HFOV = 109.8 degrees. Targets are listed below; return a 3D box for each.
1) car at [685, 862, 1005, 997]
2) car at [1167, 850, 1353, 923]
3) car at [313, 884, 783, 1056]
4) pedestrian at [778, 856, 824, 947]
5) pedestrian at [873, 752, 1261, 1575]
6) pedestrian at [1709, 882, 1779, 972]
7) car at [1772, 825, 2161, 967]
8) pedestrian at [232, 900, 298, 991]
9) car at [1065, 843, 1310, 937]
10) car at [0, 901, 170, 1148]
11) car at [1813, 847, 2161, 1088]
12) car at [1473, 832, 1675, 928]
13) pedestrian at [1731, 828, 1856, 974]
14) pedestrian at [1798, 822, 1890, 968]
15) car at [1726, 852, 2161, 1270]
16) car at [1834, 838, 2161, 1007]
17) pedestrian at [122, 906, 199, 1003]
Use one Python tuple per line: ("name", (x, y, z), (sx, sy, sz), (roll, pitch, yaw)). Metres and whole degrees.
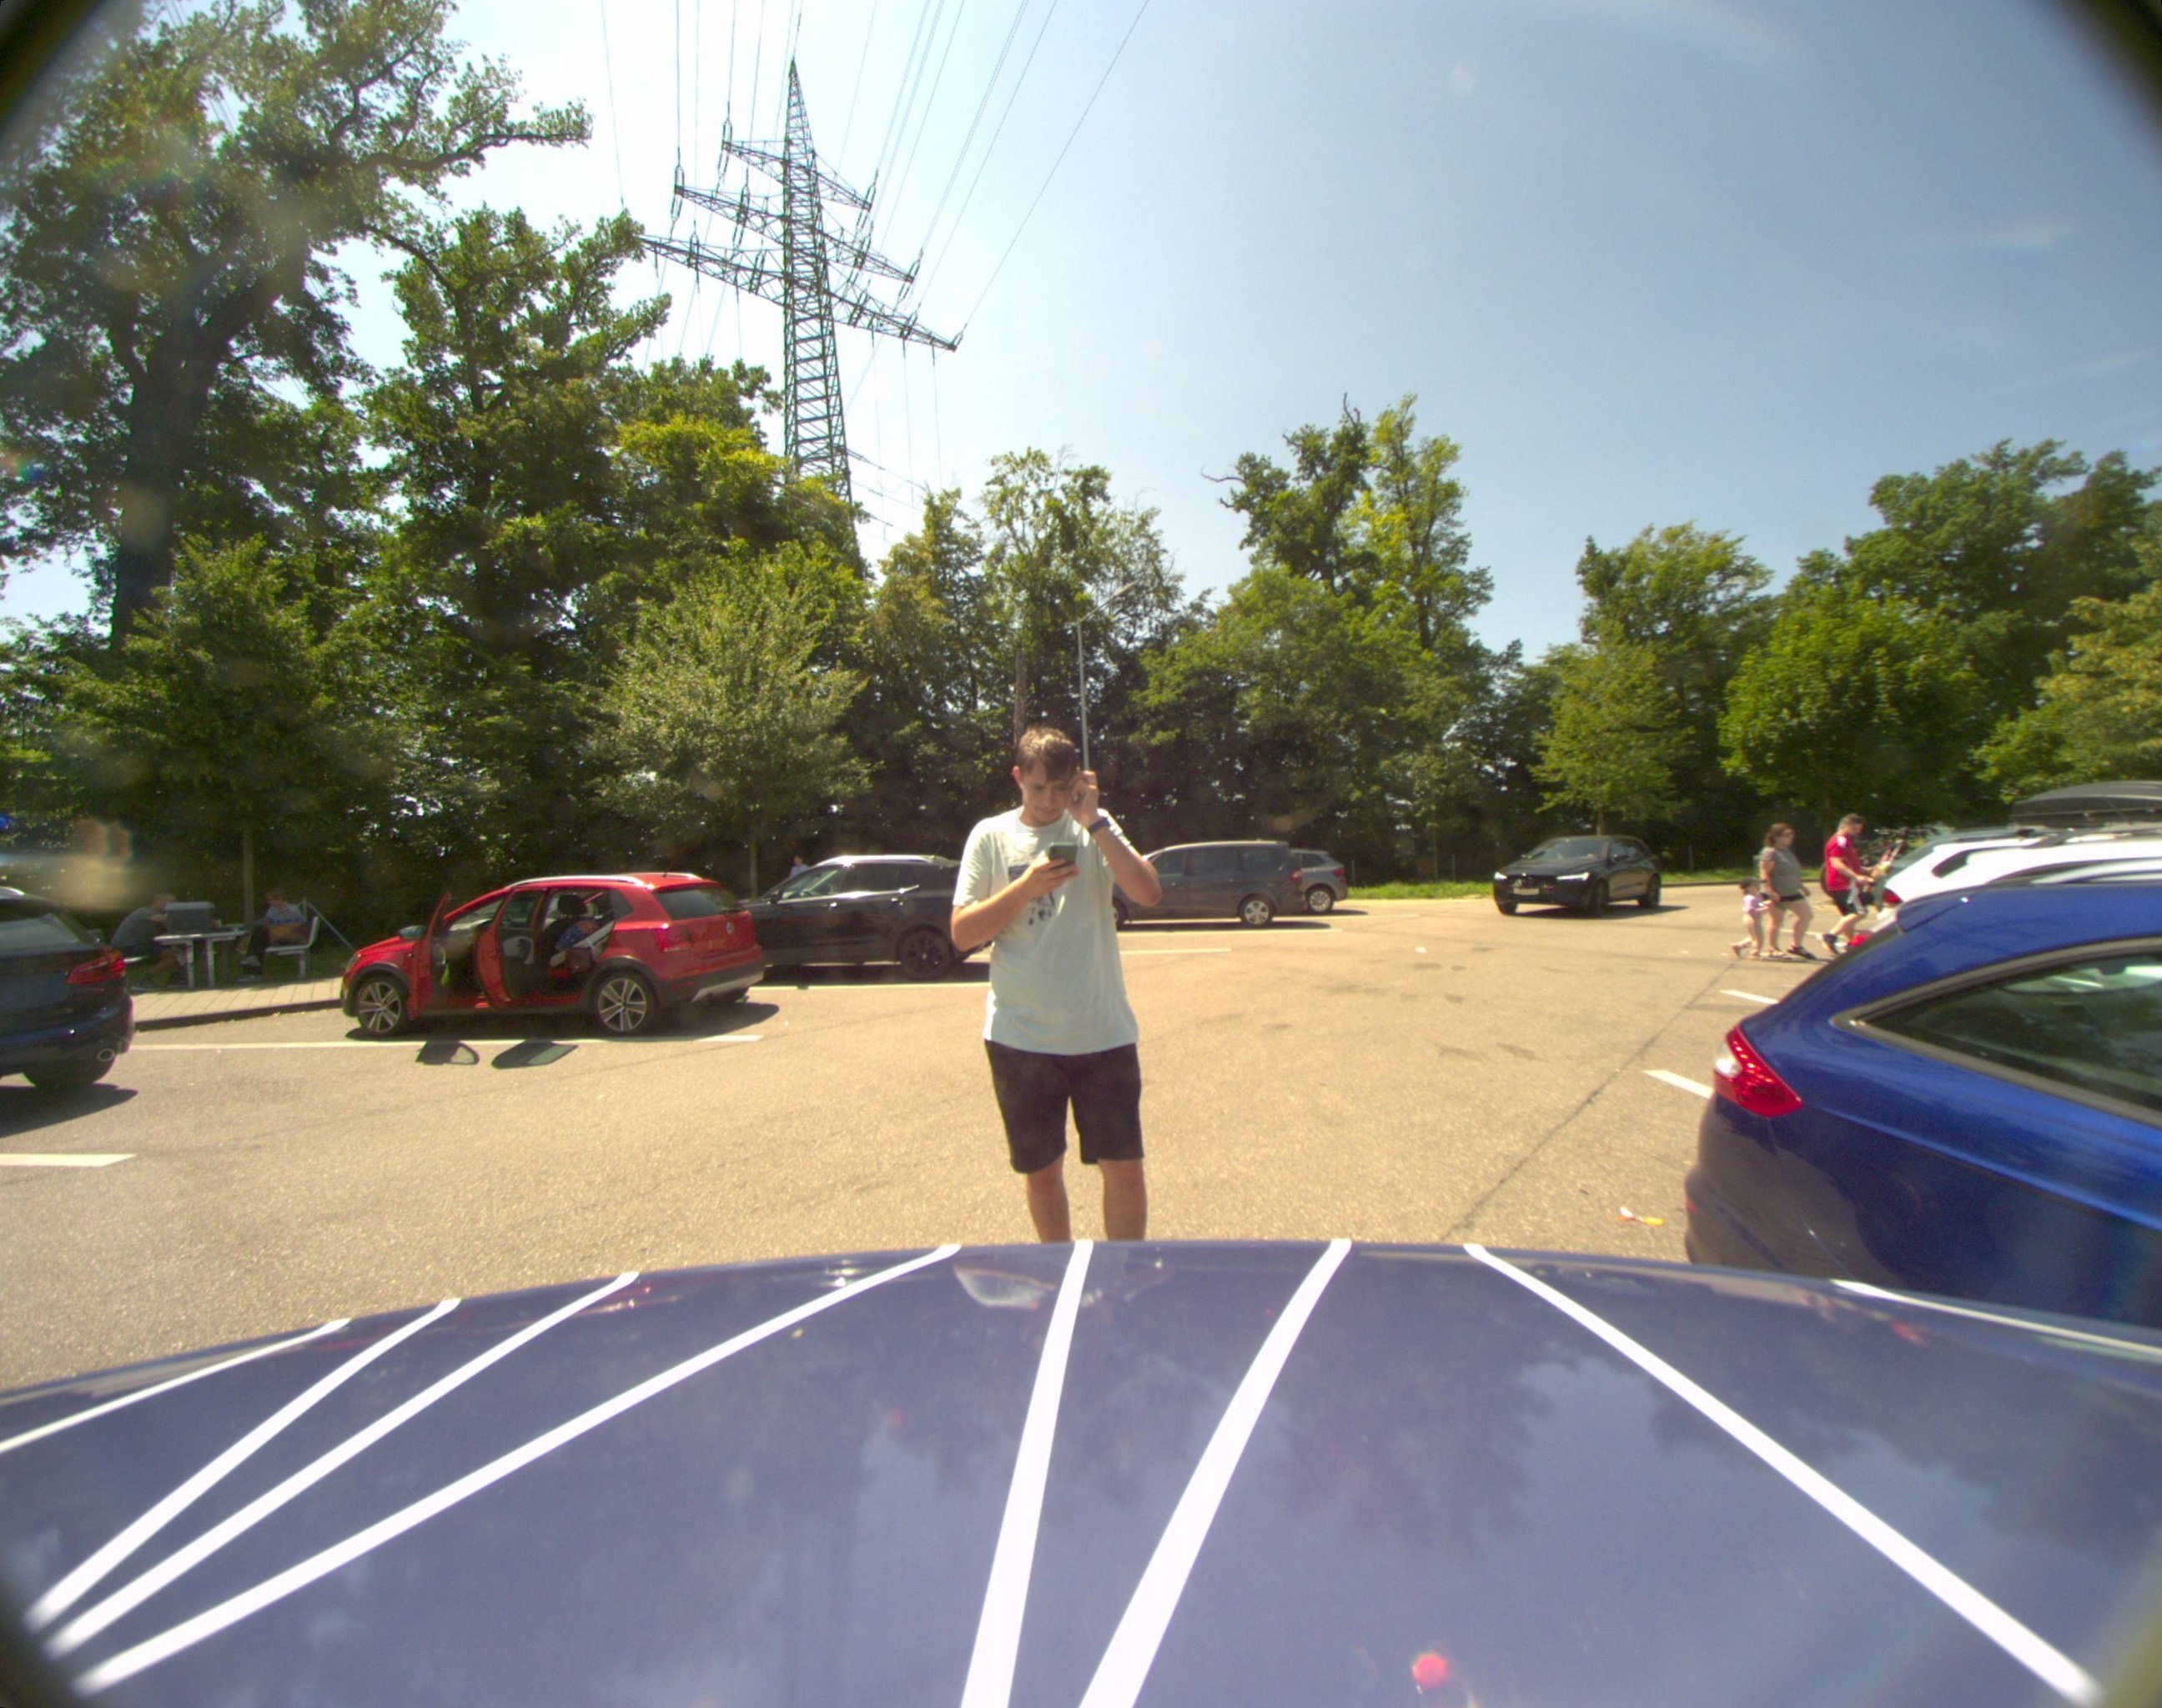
("car", (-3.041, 0.956, 10.329), (3.732, 1.578, 1.739), (-2, 0, 2))
("car", (4.135, 0.746, 18.025), (3.996, 1.495, 1.687), (-2, 1, 3))
("car", (-5.197, 1.099, 7.652), (3.730, 1.440, 1.591), (-2, 0, 7))
("pedestrian", (-5.797, 0.963, 15.741), (0.766, 1.821, 0.519), (-3, 1, -27))
("pedestrian", (-0.044, 0.737, 2.172), (0.861, 1.940, 0.688), (-2, 1, -4))
("pedestrian", (8.013, 0.867, 9.190), (0.439, 1.038, 0.434), (-2, 0, -6))
("car", (12.532, 0.477, 10.386), (1.777, 1.541, 4.493), (-3, -1, -5))
("pedestrian", (-11.959, 1.318, 11.142), (0.695, 1.228, 0.588), (-3, 0, 43))
("car", (2.131, 0.716, 15.487), (4.619, 1.701, 1.740), (-2, 0, 9))
("car", (-8.892, 1.173, 5.007), (3.934, 1.534, 1.812), (-2, 0, 7))
("car", (7.468, 0.676, 4.528), (1.776, 1.418, 4.495), (-3, -1, -1))
("car", (10.598, 0.455, 16.220), (4.625, 1.703, 1.995), (-2, 1, -35))
("pedestrian", (8.552, 0.538, 9.151), (0.675, 1.653, 0.833), (-2, 0, -4))
("pedestrian", (9.494, 0.484, 9.488), (0.674, 1.722, 0.835), (-2, 1, 38))
("car", (4.865, 0.745, 2.370), (1.776, 1.491, 4.495), (-3, -1, -1))
("car", (10.101, 0.572, 6.915), (1.777, 1.418, 4.493), (-3, -1, -5))
("pedestrian", (-12.640, 1.352, 10.453), (0.695, 1.228, 0.588), (-3, 0, 43))
